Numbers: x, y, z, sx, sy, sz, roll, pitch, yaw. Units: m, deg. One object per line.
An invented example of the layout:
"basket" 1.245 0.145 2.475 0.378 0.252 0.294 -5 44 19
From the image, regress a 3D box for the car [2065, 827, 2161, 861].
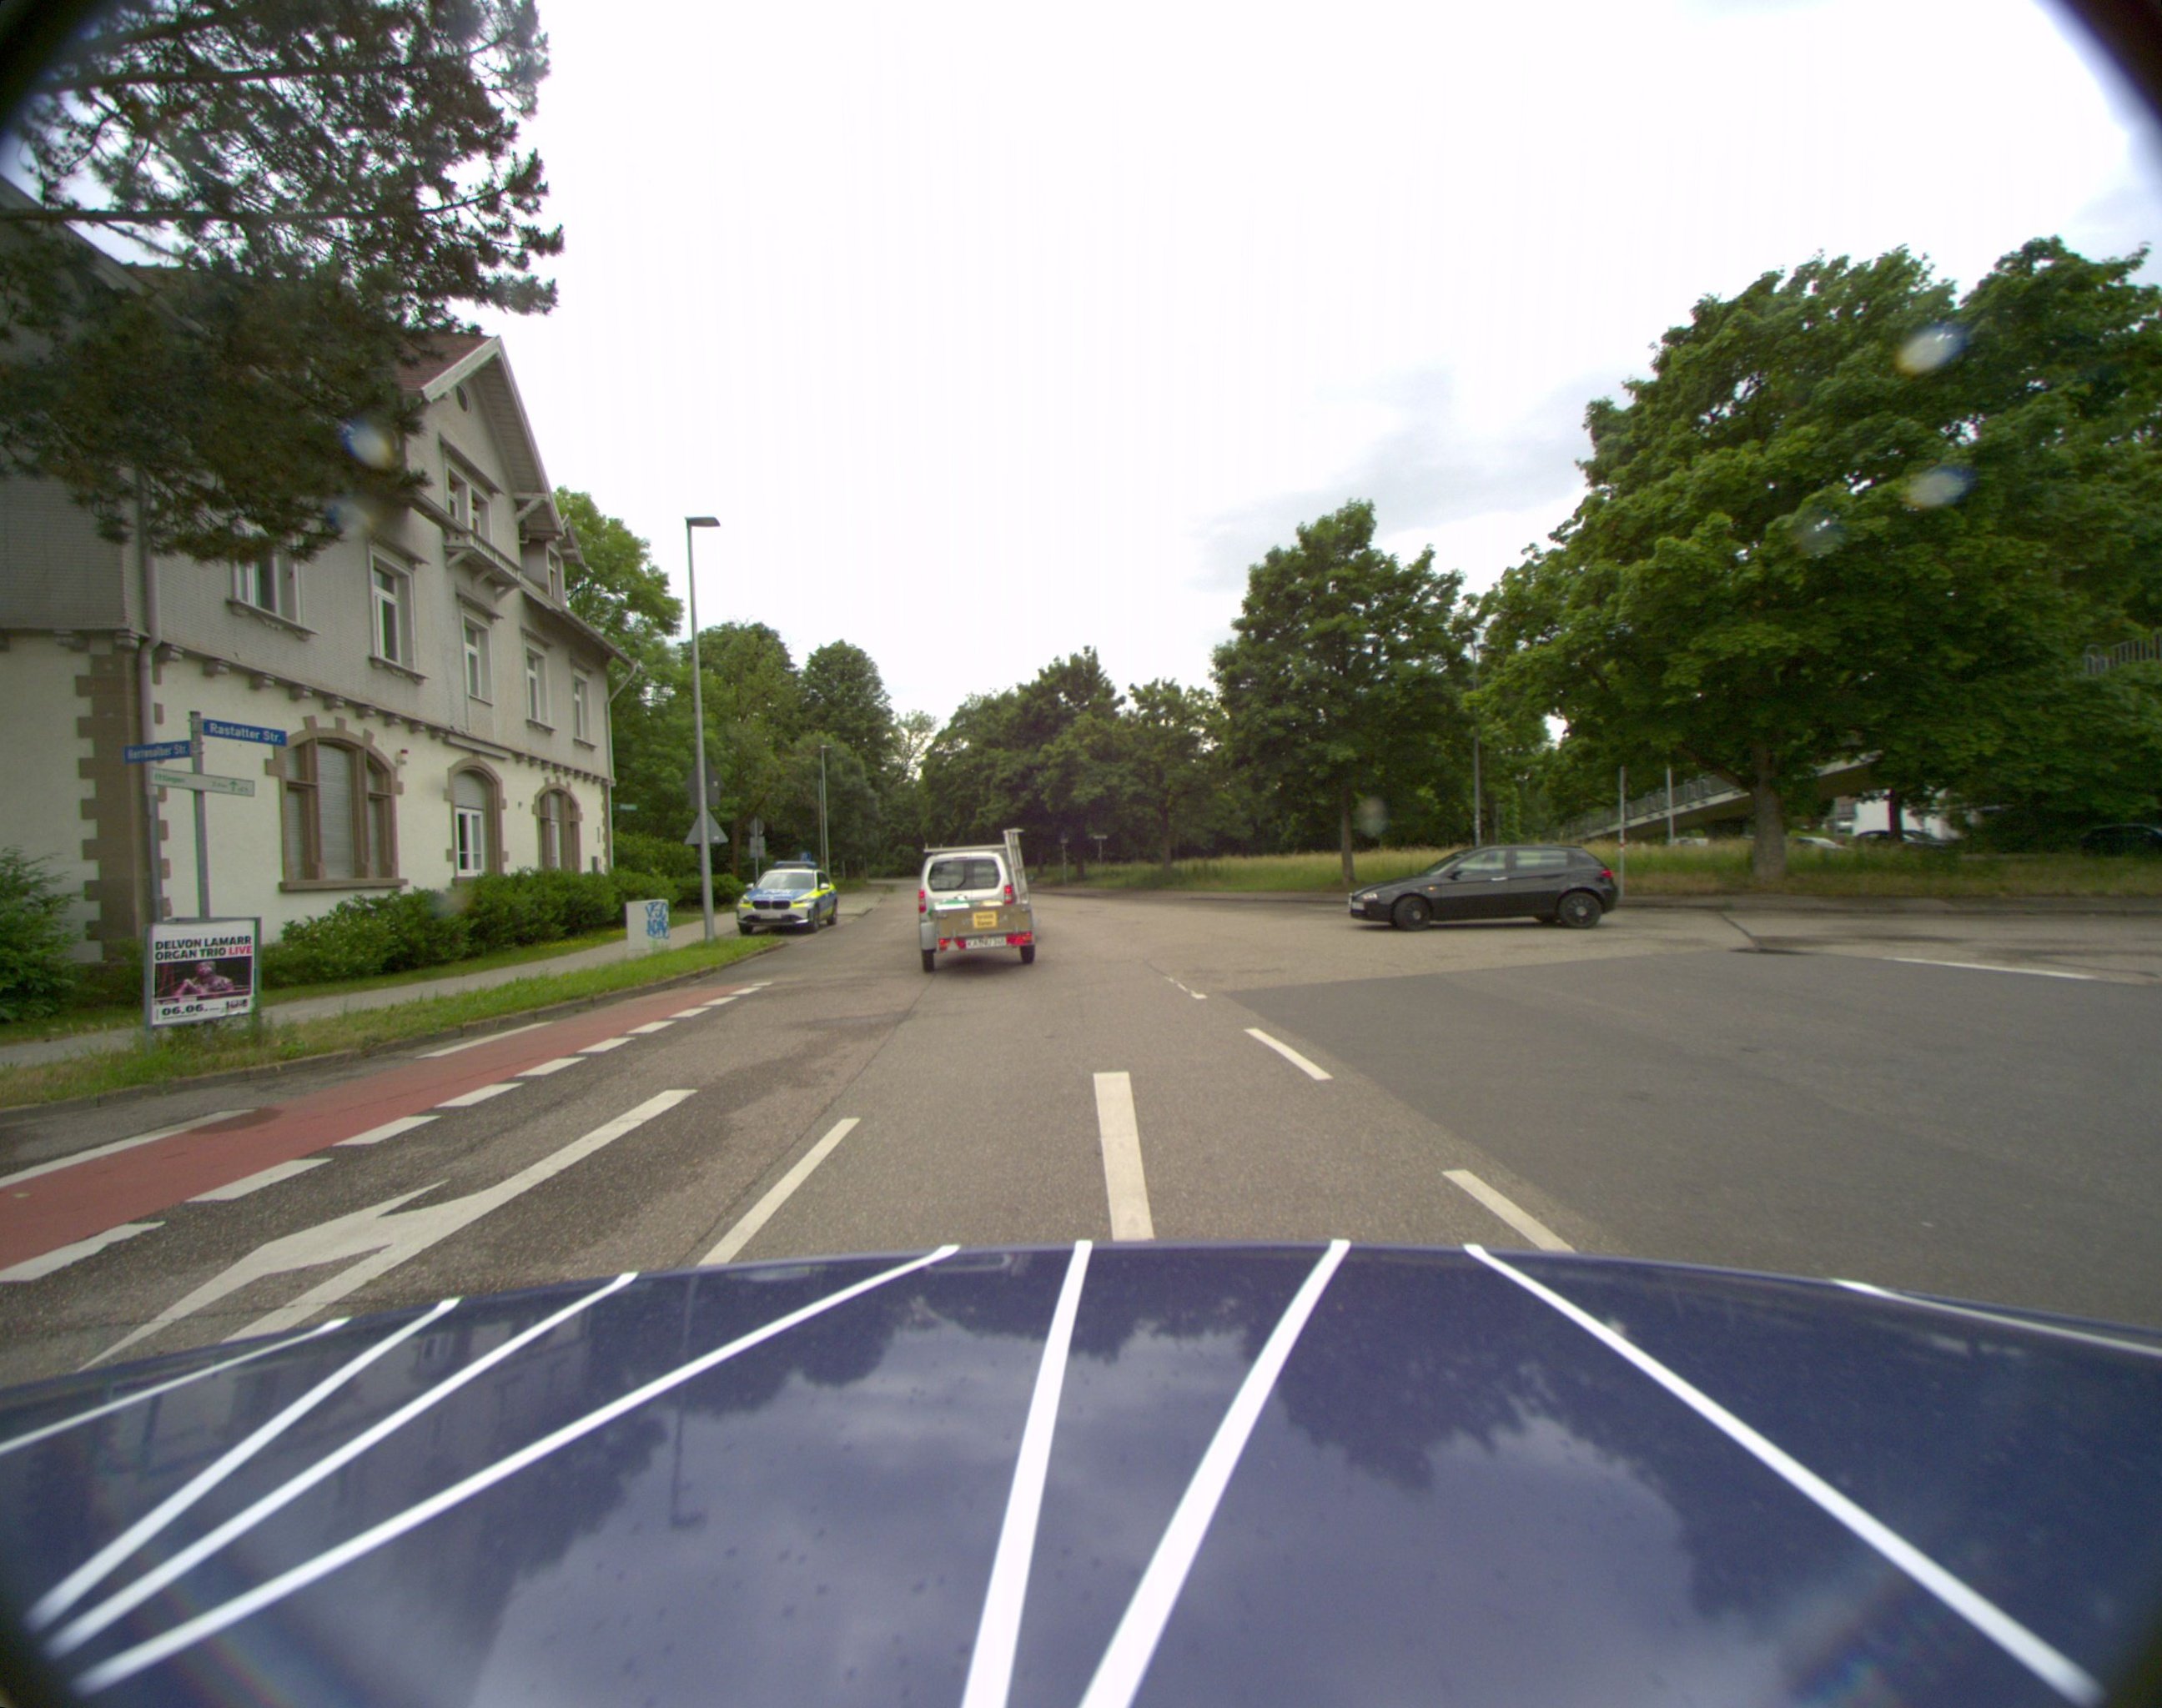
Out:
"car" 40.403 -0.392 28.712 1.692 1.231 4.003 -2 0 11

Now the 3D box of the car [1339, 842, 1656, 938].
"car" 6.996 0.619 13.314 4.532 1.448 1.805 -2 0 14

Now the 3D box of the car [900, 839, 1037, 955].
"car" -2.020 0.720 14.995 2.094 1.847 4.221 -4 0 -2

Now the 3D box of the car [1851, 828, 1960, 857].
"car" 41.825 -0.573 38.690 1.692 1.343 4.003 -2 0 11

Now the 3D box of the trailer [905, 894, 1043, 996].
"trailer" -1.716 1.228 11.303 1.573 0.980 3.460 -2 1 -15

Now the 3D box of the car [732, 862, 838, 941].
"car" -7.616 1.131 19.934 1.937 1.839 3.996 0 0 -12
